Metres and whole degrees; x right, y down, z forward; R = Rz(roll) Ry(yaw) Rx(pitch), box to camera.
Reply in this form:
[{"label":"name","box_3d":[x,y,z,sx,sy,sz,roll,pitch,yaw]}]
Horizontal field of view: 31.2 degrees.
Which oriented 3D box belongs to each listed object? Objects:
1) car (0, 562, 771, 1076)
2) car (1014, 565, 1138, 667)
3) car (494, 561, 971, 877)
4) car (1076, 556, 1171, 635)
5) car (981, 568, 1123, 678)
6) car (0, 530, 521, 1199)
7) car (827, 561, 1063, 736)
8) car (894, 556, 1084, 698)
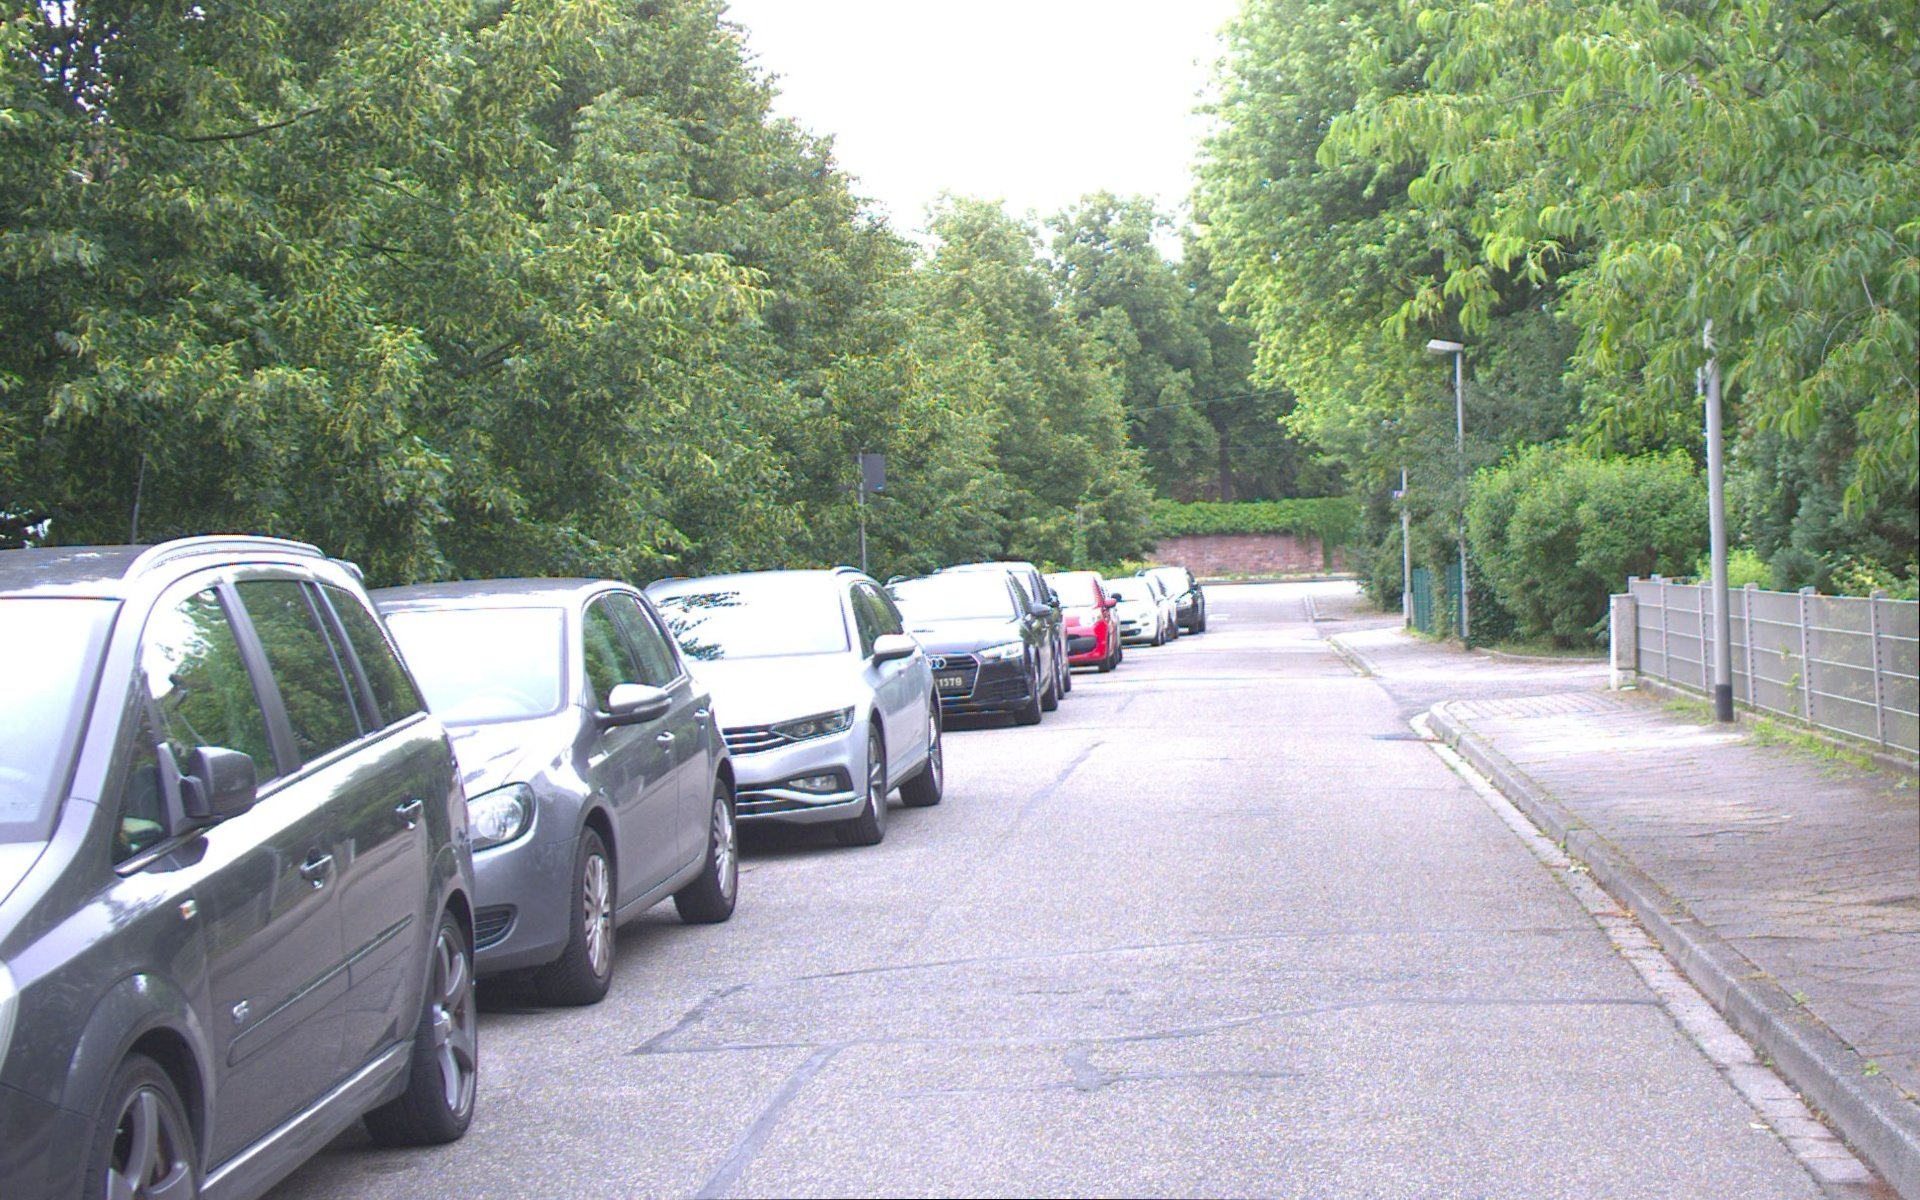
[{"label":"car","box_3d":[-1.994,0.670,12.899,1.758,1.473,4.305,-4,1,7]},{"label":"car","box_3d":[1.983,0.234,57.733,1.752,1.514,3.999,-4,1,6]},{"label":"car","box_3d":[-1.121,0.568,19.158,1.776,1.423,4.477,-4,1,7]},{"label":"car","box_3d":[3.513,-0.118,73.258,1.752,1.514,3.999,-3,1,6]},{"label":"car","box_3d":[1.405,0.310,50.950,1.752,1.420,3.999,-4,1,6]},{"label":"car","box_3d":[-2.316,0.709,7.383,1.757,1.588,4.552,-4,1,4]},{"label":"car","box_3d":[-0.076,0.413,32.459,1.752,1.420,3.999,-4,1,6]},{"label":"car","box_3d":[0.383,0.266,39.413,1.752,1.420,3.999,-4,1,6]}]
